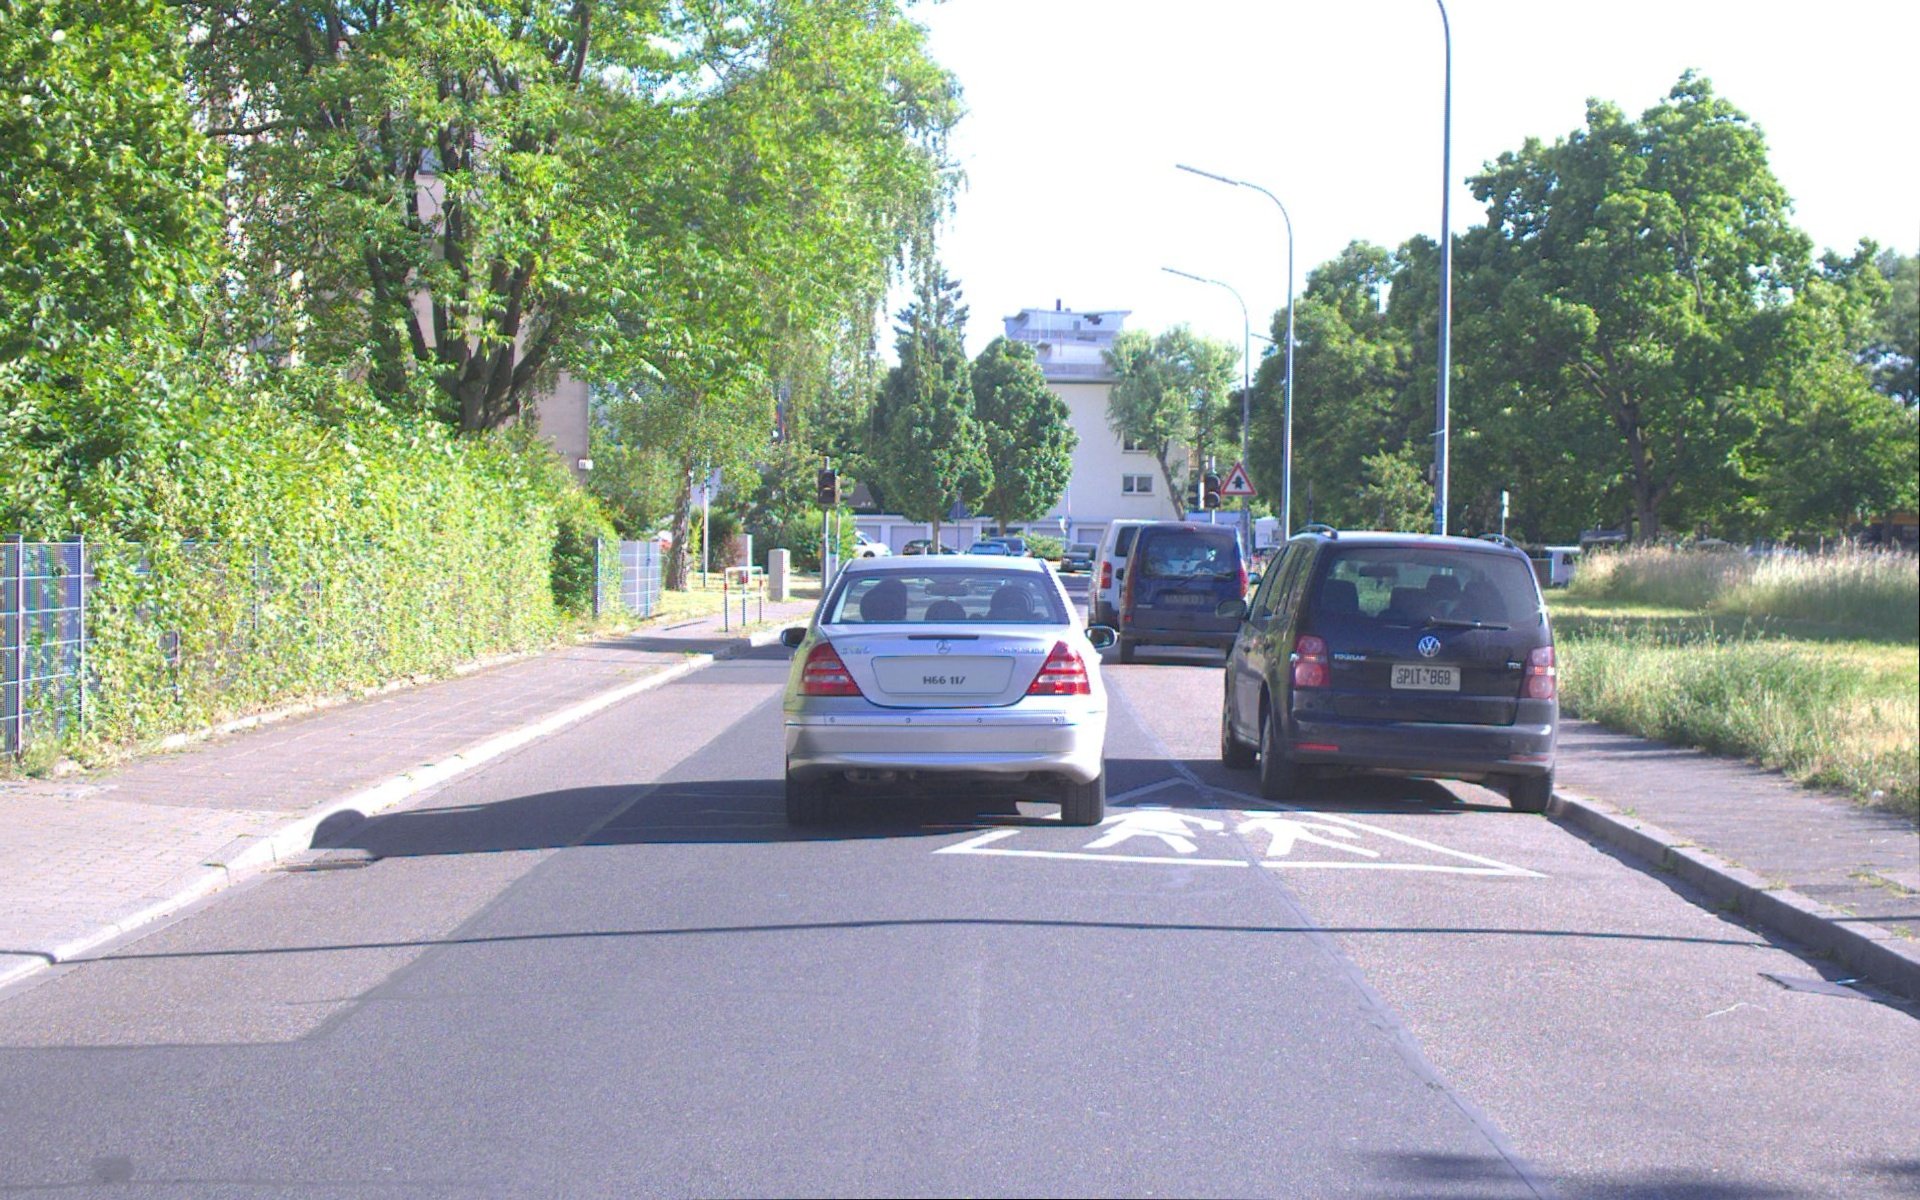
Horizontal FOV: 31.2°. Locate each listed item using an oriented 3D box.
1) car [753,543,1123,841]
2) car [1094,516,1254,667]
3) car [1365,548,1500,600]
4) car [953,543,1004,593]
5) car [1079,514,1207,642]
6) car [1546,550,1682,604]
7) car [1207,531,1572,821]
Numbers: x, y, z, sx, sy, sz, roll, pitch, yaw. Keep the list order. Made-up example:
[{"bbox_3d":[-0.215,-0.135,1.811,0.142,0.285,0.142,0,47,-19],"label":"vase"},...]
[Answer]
[{"bbox_3d":[-0.021,0.428,19.272,1.816,1.458,4.360,-1,1,2],"label":"car"},{"bbox_3d":[2.679,-0.147,43.689,1.698,1.753,3.851,3,1,0],"label":"car"},{"bbox_3d":[13.822,-0.762,100.508,3.705,1.436,1.698,1,-1,16],"label":"car"},{"bbox_3d":[0.685,-1.196,129.004,1.885,1.722,4.000,1,-1,0],"label":"car"},{"bbox_3d":[2.830,-0.376,53.787,1.698,1.845,3.851,3,1,0],"label":"car"},{"bbox_3d":[18.943,-0.653,99.522,3.705,1.466,1.698,1,-1,16],"label":"car"},{"bbox_3d":[2.614,0.398,21.780,1.698,1.605,4.000,2,1,-1],"label":"car"}]
